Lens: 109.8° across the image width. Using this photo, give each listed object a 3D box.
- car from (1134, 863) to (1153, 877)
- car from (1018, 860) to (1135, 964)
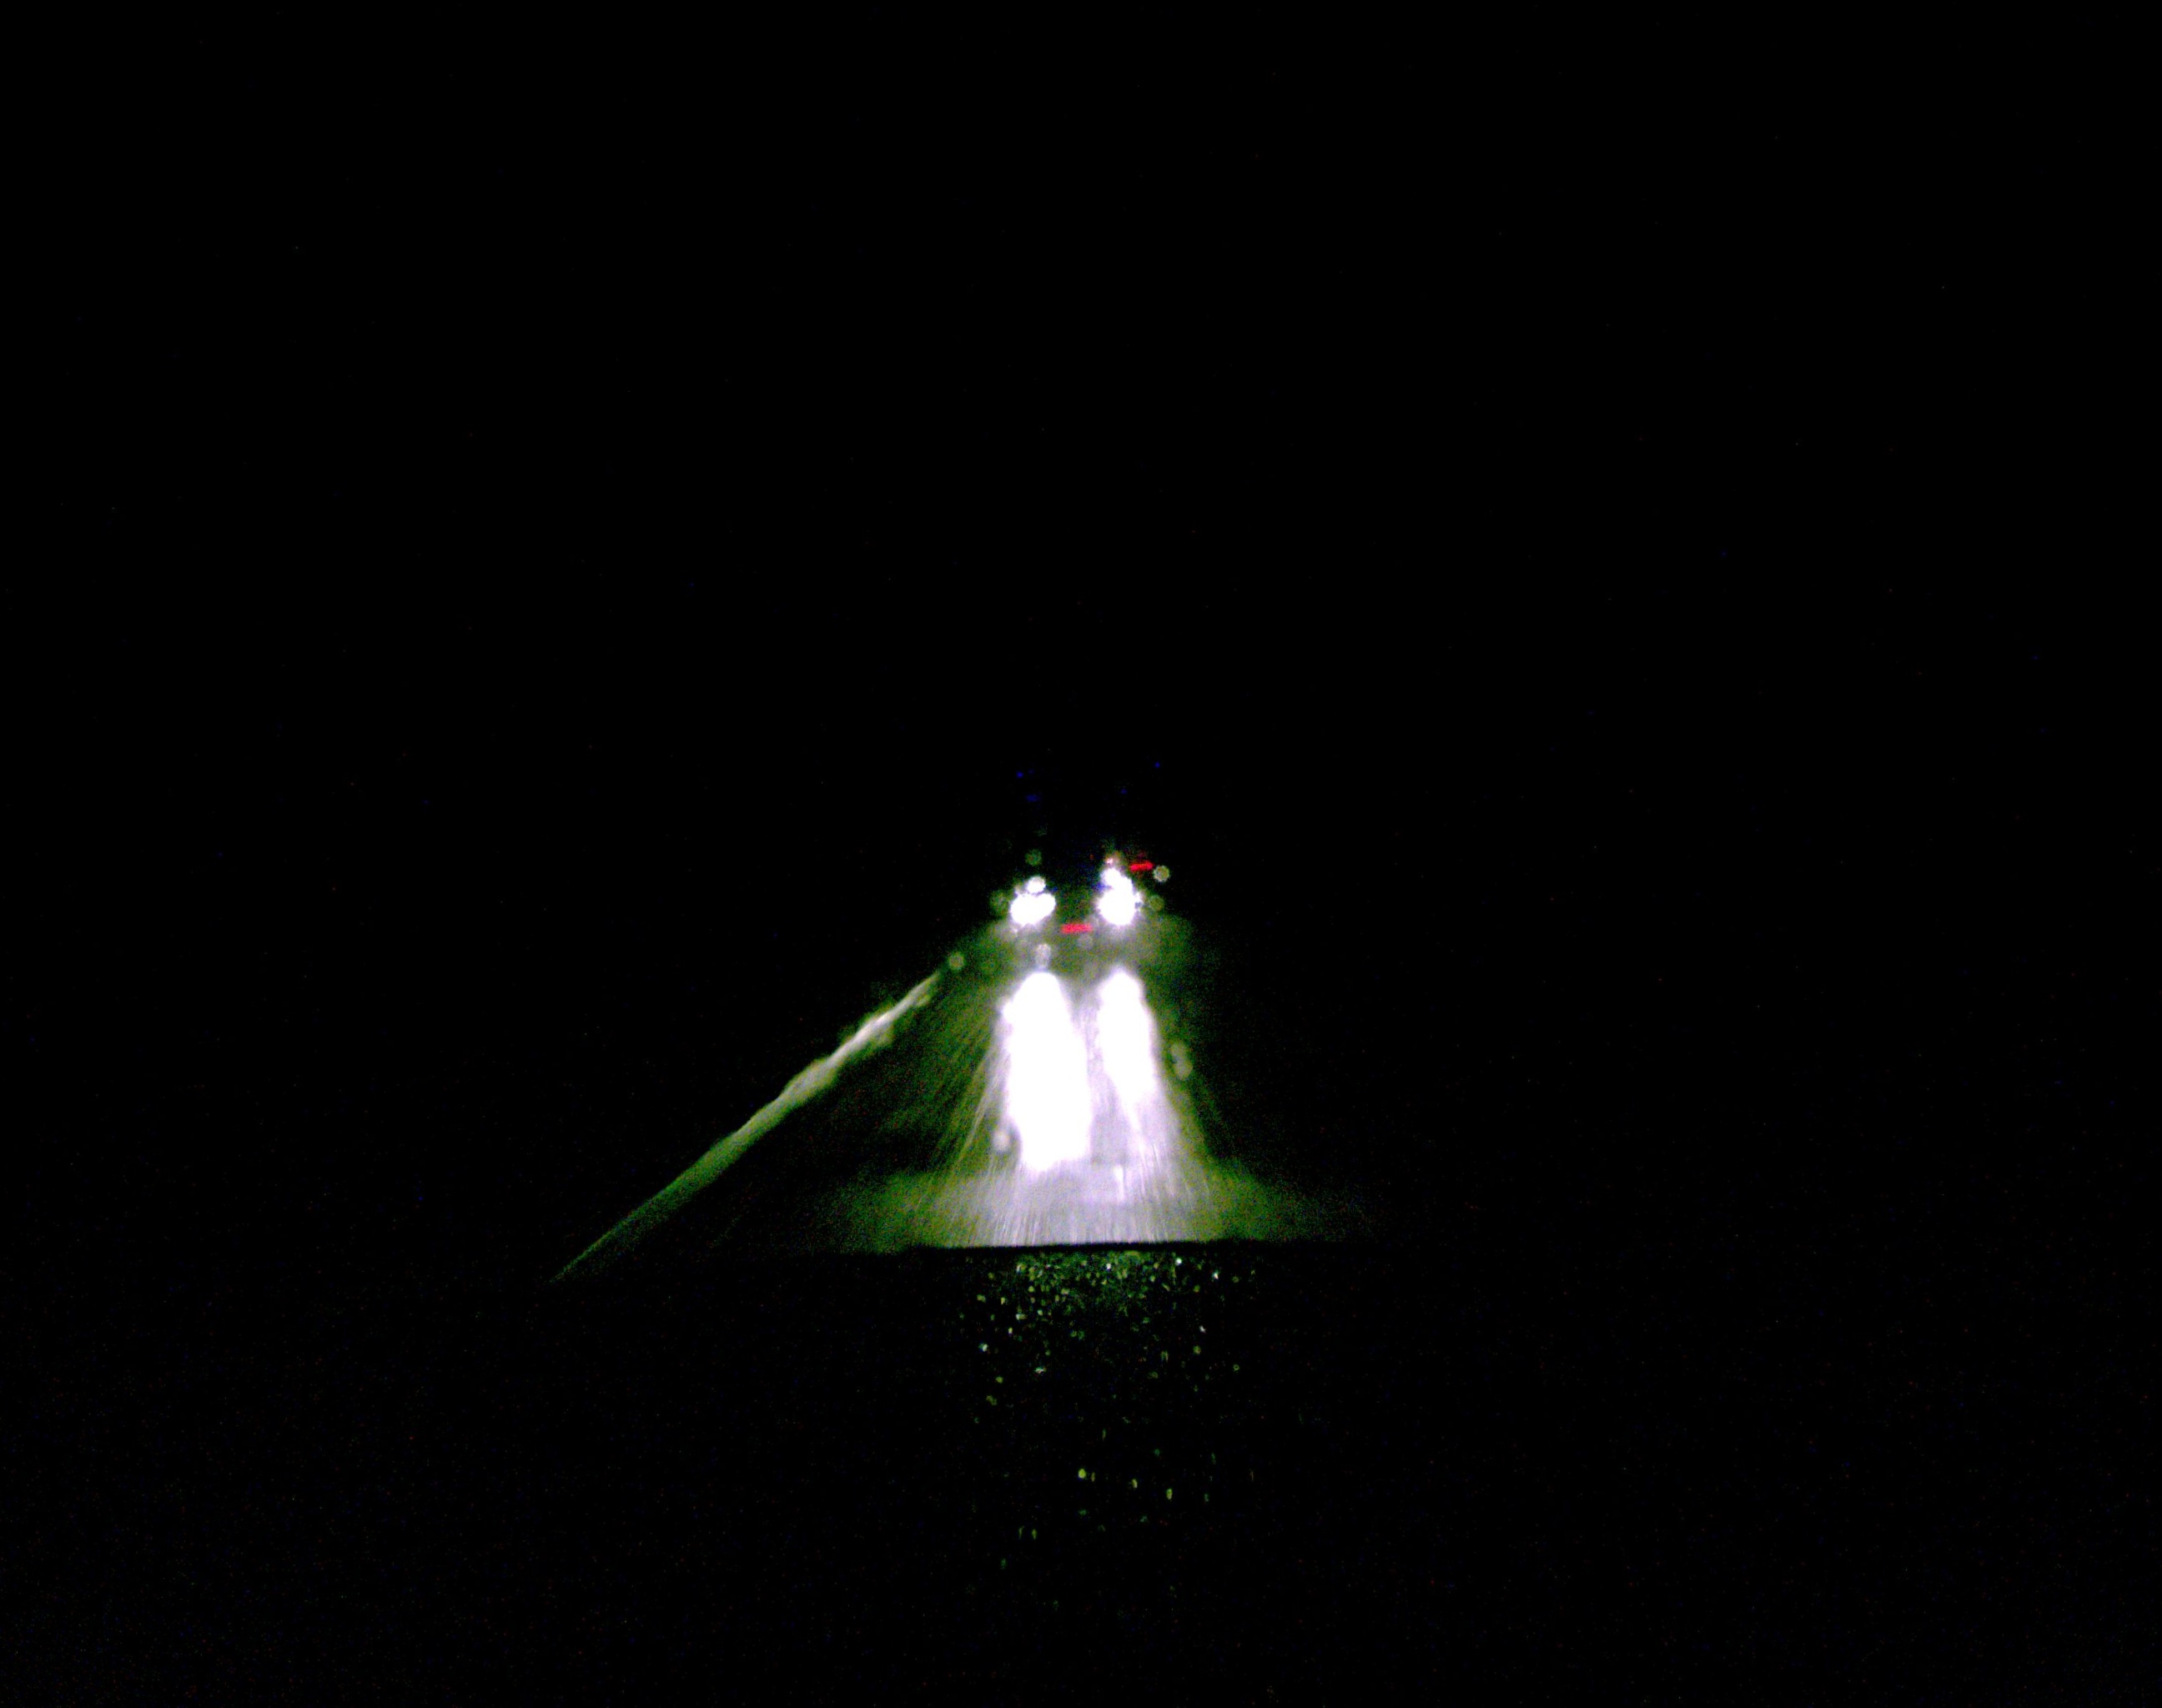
[{"bbox_3d":[7.304,1.828,88.904,1.867,1.535,4.230,-2,-1,0],"label":"car"},{"bbox_3d":[0.005,0.982,14.771,1.862,1.601,4.420,-3,0,2],"label":"car"}]
